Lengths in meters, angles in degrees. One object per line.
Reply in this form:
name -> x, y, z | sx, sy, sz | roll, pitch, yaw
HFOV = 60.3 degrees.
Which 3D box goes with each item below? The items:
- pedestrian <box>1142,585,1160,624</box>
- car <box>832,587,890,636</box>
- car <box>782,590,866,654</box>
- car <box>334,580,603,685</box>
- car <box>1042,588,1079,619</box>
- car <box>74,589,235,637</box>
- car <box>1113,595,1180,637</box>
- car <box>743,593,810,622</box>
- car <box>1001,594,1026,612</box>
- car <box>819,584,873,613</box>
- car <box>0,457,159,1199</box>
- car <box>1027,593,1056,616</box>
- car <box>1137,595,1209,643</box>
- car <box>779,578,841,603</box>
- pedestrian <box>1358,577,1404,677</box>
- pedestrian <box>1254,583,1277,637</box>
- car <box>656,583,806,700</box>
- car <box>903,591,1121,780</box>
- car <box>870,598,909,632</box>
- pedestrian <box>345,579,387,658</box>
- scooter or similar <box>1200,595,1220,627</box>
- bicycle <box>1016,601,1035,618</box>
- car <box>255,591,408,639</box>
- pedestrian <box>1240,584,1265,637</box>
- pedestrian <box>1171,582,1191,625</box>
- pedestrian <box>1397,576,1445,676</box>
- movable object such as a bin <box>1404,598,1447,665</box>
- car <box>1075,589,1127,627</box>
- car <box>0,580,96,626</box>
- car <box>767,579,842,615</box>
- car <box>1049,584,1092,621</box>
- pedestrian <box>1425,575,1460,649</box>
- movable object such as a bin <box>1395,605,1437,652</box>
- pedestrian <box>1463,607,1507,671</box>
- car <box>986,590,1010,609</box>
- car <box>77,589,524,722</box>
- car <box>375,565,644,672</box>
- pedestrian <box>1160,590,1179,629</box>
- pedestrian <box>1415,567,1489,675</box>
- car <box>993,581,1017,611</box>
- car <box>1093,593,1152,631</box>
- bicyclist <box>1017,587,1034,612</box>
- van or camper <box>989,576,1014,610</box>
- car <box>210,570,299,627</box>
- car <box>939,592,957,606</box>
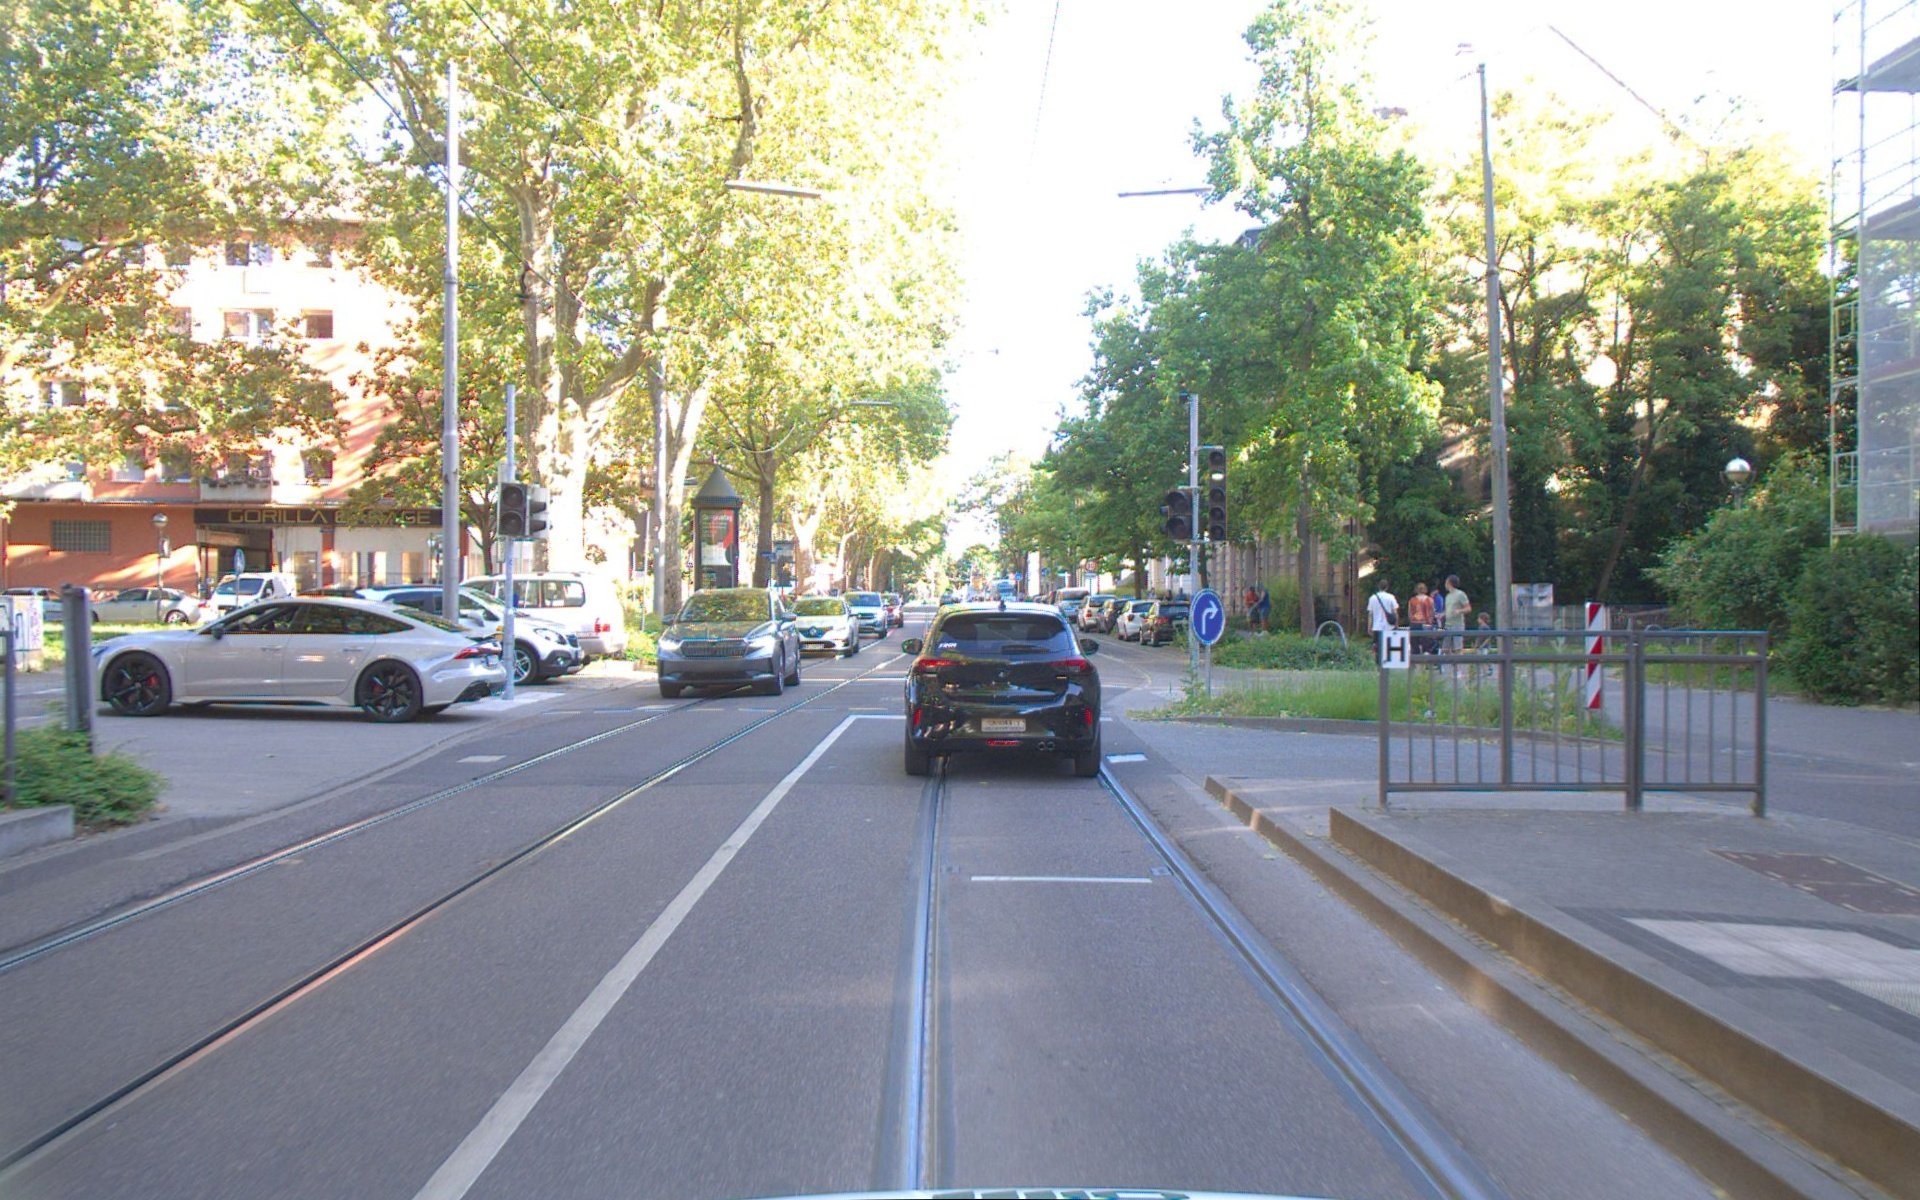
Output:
pedestrian -> 8.668, 0.201, 75.060 | 0.711, 1.722, 0.957 | 1, 0, 3
car -> -3.376, 0.393, 57.142 | 1.779, 1.596, 4.115 | -1, 0, -1
car -> -3.328, 0.513, 41.088 | 1.739, 1.486, 4.204 | 1, 0, 0
car -> -8.385, 0.548, 28.492 | 4.056, 1.675, 1.901 | 1, 0, -3
car -> 6.034, 0.225, 99.403 | 1.847, 1.797, 4.677 | 0, 0, -1
car -> -26.617, 0.431, 54.774 | 4.385, 1.475, 1.820 | 1, 0, -9
car -> 6.776, 0.561, 60.462 | 1.846, 1.391, 4.106 | -2, 0, -1
car -> -9.794, 0.392, 88.330 | 3.349, 1.490, 1.759 | 1, 0, 1
car -> 4.538, 0.236, 140.009 | 1.846, 1.459, 4.529 | -2, 0, -1
car -> -10.770, -0.175, 156.472 | 4.934, 2.415, 2.081 | -3, 0, -1
car -> -2.832, 0.575, 1.298 | 1.953, 1.746, 5.142 | 1, 0, -1
car -> 5.616, 0.311, 113.909 | 1.668, 1.448, 3.977 | -3, 0, -1
car -> 6.924, 0.608, 54.085 | 1.639, 1.437, 3.841 | -2, 0, -3
car -> -10.302, -0.638, 113.962 | 4.214, 1.635, 1.924 | 1, 0, -4
pedestrian -> 7.797, 0.492, 30.663 | 0.710, 1.824, 0.854 | -2, 0, 10
pedestrian -> 10.455, 0.352, 56.572 | 0.586, 1.824, 0.728 | 1, 0, -4
car -> -3.509, 0.601, 26.088 | 1.870, 1.666, 4.319 | -1, 0, -2
car -> 0.387, 0.686, 15.190 | 1.727, 1.486, 3.949 | 1, 0, -1
car -> -3.164, 0.685, 74.931 | 1.627, 1.469, 3.473 | 1, 0, 0
pedestrian -> -14.021, 0.424, 39.052 | 0.630, 1.841, 0.752 | 1, 0, 4
scooter or similar -> 10.107, 0.459, 66.874 | 0.564, 1.268, 1.335 | 1, 0, 0
bicycle -> 4.079, 0.593, 102.705 | 0.948, 1.016, 2.582 | 1, 0, -2
car -> -21.108, 0.506, 55.687 | 4.441, 1.515, 1.857 | 1, 0, -7
pedestrian -> 10.131, 0.368, 57.319 | 0.712, 1.824, 0.600 | 1, 0, 26
pedestrian -> 9.469, 0.134, 70.948 | 0.712, 1.824, 0.600 | 1, 0, -6
pedestrian -> 8.570, 0.476, 30.788 | 0.710, 1.824, 0.969 | -2, 0, 10
movable object such as a bin -> 8.921, 0.596, 31.753 | 0.625, 1.223, 1.306 | -2, 0, 10
car -> 6.337, 0.346, 74.678 | 1.846, 1.595, 4.241 | -2, 0, -1
car -> -34.524, 0.103, 62.476 | 1.908, 1.646, 4.475 | 1, 0, -8
car -> -10.385, -0.197, 110.695 | 4.934, 2.299, 2.084 | 1, 0, -5
car -> 6.000, 0.157, 90.210 | 1.846, 1.883, 4.966 | -2, 0, -1
pedestrian -> 11.557, 0.292, 39.623 | 0.607, 1.756, 0.552 | 1, 0, -16
movable object such as a bin -> 11.222, 0.695, 40.708 | 0.653, 1.146, 0.955 | 1, 0, -8
pedestrian -> 9.607, 0.701, 30.277 | 0.660, 1.138, 0.660 | 1, 0, 10
car -> 3.880, -0.068, 171.170 | 2.208, 1.873, 5.529 | -1, 0, -1
car -> -7.906, 0.651, 20.229 | 4.671, 1.486, 1.953 | 1, 0, -5
car -> -8.336, 0.343, 30.935 | 4.479, 1.866, 1.937 | 1, 0, -3
pedestrian -> 9.509, 0.445, 75.087 | 0.711, 1.739, 0.856 | 1, 0, 2
pedestrian -> 8.892, 0.378, 29.912 | 0.854, 1.918, 0.993 | 1, 0, -19
car -> 4.256, -0.416, 157.415 | 2.043, 2.820, 4.696 | -1, 1, -1
car -> 6.821, 0.488, 69.916 | 1.846, 1.492, 4.592 | -2, 0, -2
bicyclist -> 4.086, -0.005, 102.688 | 0.939, 1.525, 1.093 | 1, 0, -3
van or camper -> 4.109, -0.695, 163.978 | 2.208, 3.272, 5.529 | -1, 0, -1
car -> -26.500, -0.047, 62.269 | 1.957, 2.038, 4.908 | 1, 0, -10
car -> -1.655, -0.114, 229.862 | 2.209, 1.873, 5.527 | -1, 0, -3
